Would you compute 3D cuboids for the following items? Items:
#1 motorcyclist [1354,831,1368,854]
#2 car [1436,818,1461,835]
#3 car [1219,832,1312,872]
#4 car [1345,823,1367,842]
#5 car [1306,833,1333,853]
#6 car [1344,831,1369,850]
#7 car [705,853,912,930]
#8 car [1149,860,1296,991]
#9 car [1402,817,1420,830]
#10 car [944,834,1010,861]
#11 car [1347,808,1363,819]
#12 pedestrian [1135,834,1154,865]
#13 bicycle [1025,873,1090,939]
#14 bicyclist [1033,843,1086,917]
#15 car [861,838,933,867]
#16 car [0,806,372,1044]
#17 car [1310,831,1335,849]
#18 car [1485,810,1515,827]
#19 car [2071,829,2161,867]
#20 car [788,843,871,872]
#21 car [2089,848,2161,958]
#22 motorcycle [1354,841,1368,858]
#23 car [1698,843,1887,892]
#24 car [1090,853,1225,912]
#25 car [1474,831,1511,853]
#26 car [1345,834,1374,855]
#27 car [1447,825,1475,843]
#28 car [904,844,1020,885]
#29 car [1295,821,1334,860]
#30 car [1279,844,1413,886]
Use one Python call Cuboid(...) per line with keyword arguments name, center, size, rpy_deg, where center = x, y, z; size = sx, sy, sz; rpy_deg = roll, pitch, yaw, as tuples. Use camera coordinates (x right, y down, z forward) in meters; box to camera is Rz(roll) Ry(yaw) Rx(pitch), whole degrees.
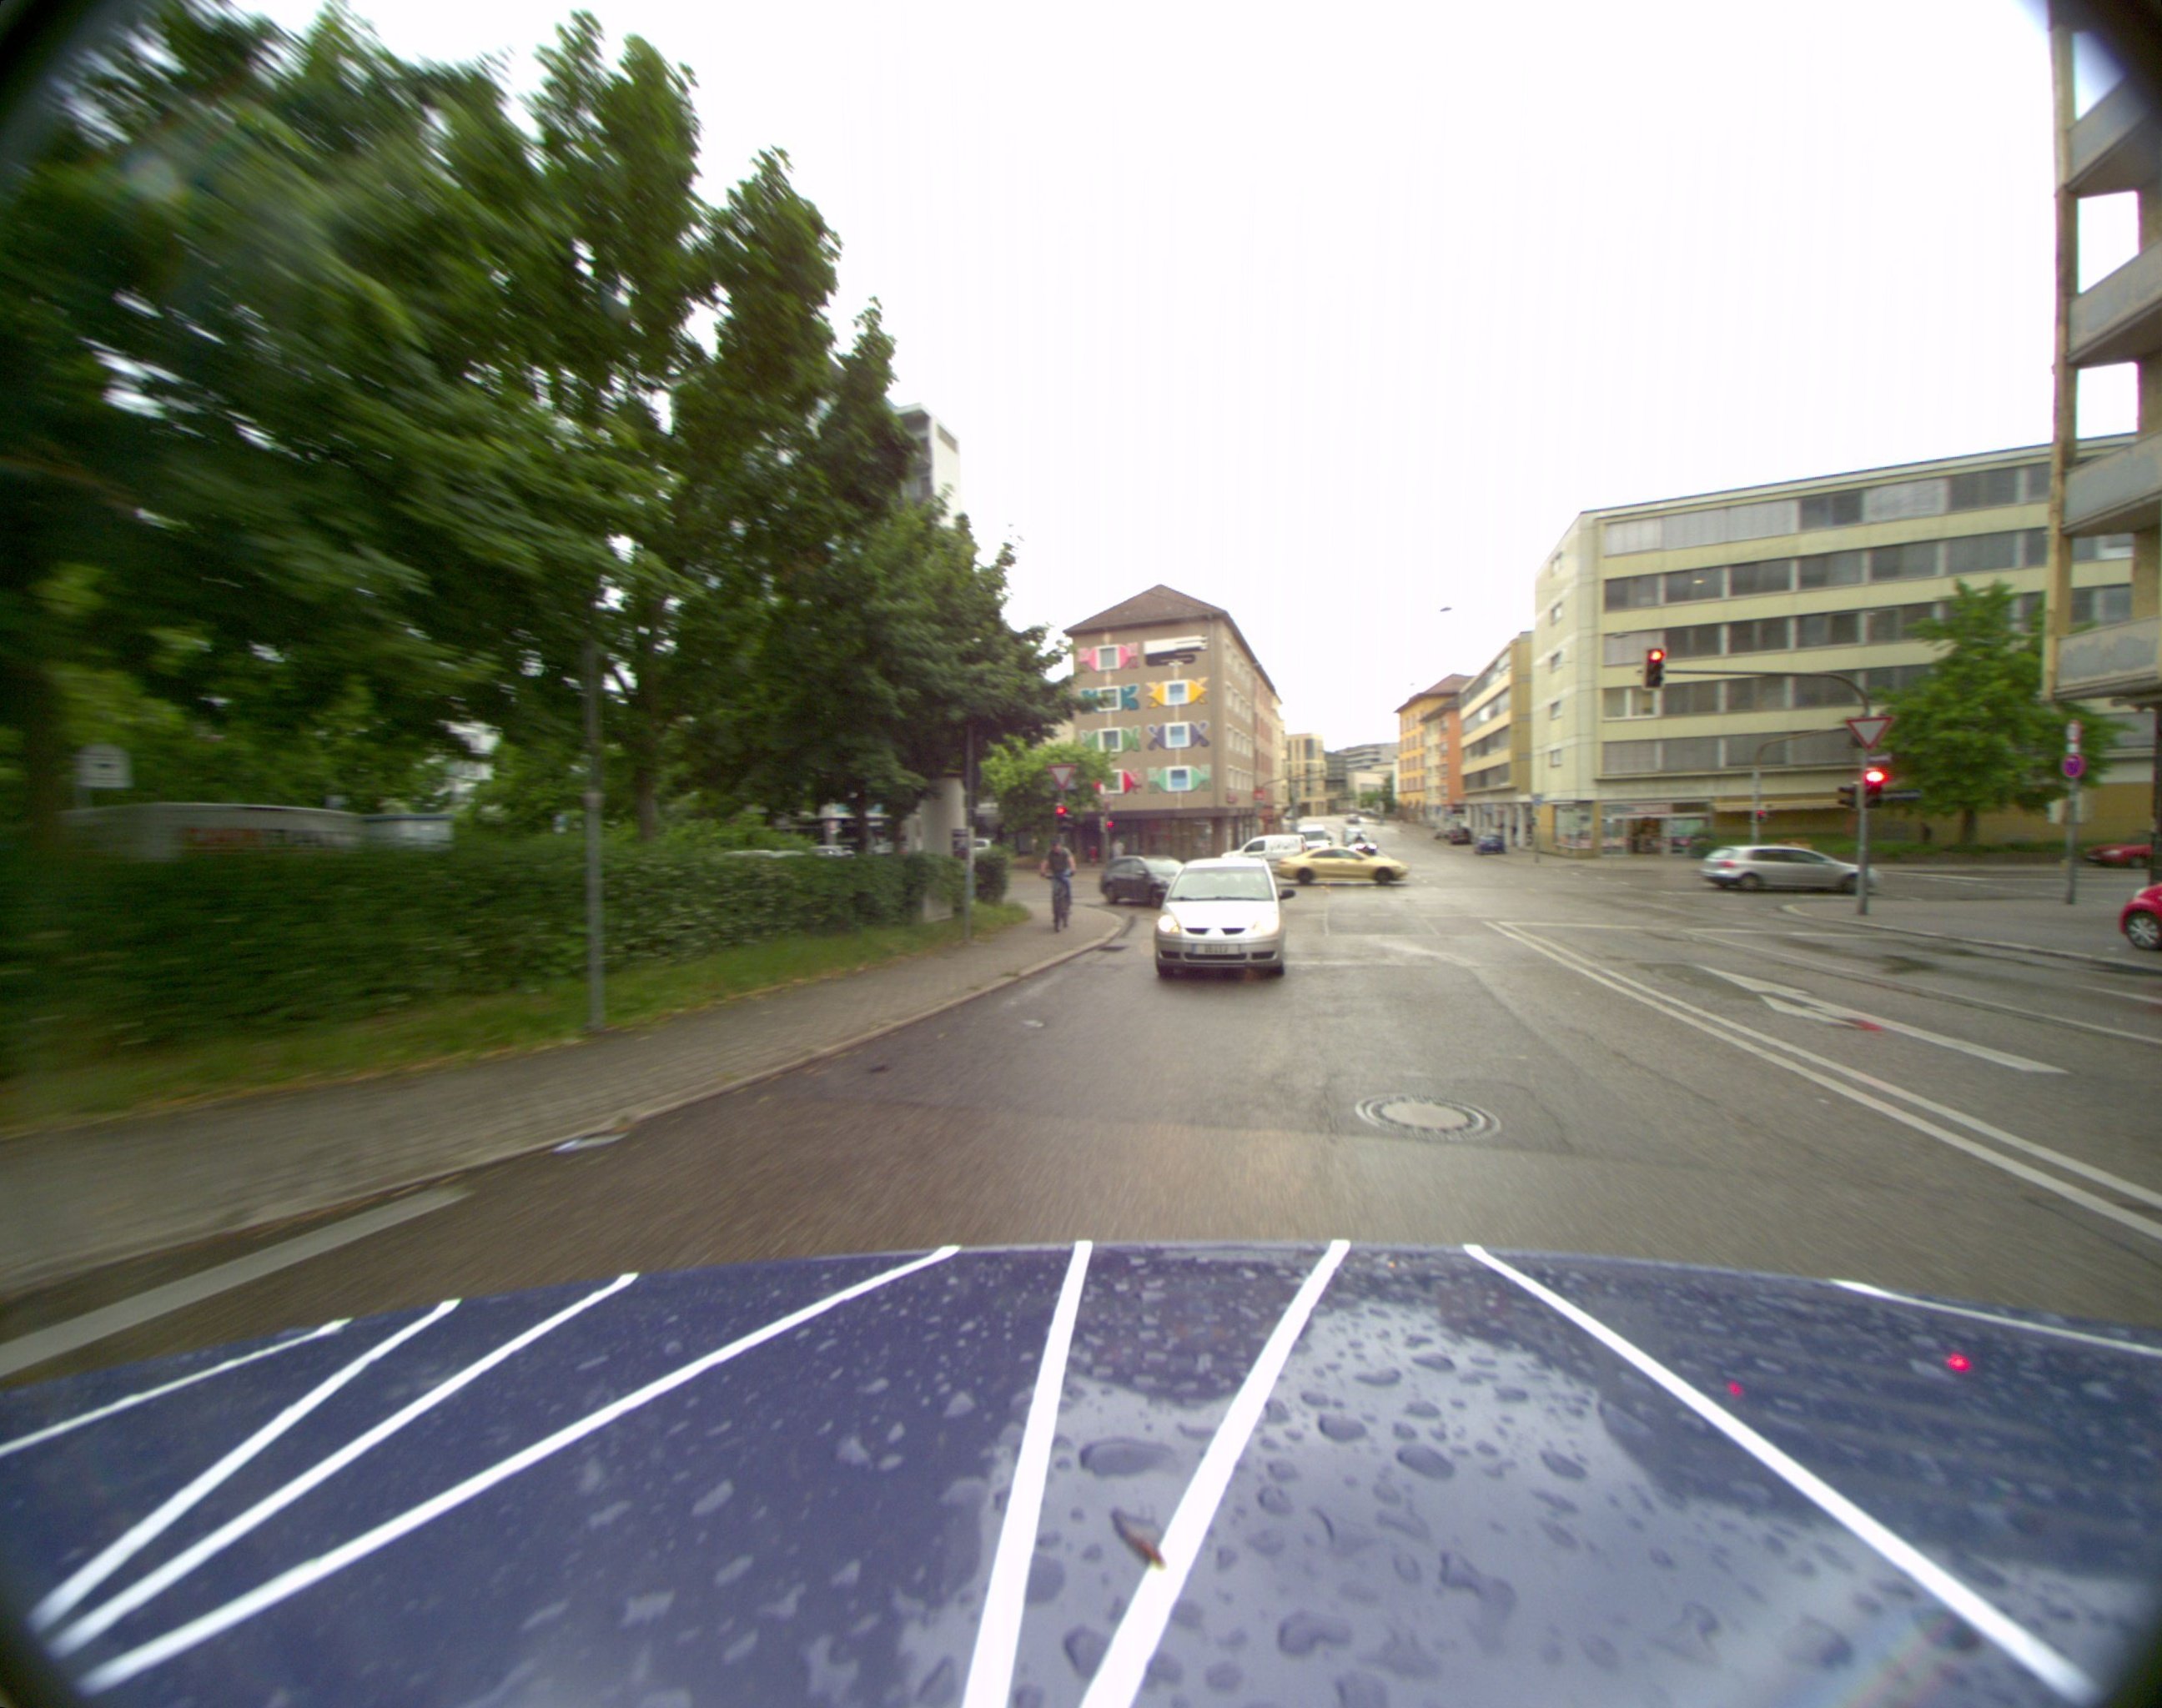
Cuboid(name="motorcyclist", center=(18.846, -0.772, 51.169), size=(0.877, 1.471, 0.797), rpy_deg=(-1, 2, 19))
Cuboid(name="car", center=(38.123, -2.827, 78.905), size=(1.846, 1.558, 4.374), rpy_deg=(-3, 1, 20))
Cuboid(name="car", center=(9.079, -0.130, 37.340), size=(4.221, 1.845, 1.994), rpy_deg=(0, 2, 21))
Cuboid(name="car", center=(26.255, -2.053, 72.478), size=(1.846, 1.705, 3.573), rpy_deg=(-3, 1, 20))
Cuboid(name="car", center=(19.239, -0.925, 61.157), size=(1.846, 1.470, 3.573), rpy_deg=(-3, 1, 20))
Cuboid(name="car", center=(22.889, -1.108, 63.047), size=(1.846, 1.411, 3.573), rpy_deg=(-3, 1, 20))
Cuboid(name="car", center=(-6.131, 0.818, 17.197), size=(4.204, 1.612, 1.639), rpy_deg=(-1, 0, 15))
Cuboid(name="car", center=(2.120, 0.894, 11.105), size=(1.685, 1.496, 3.842), rpy_deg=(-3, 0, 13))
Cuboid(name="car", center=(43.041, -3.920, 99.257), size=(1.846, 1.558, 4.374), rpy_deg=(-3, 1, 20))
Cuboid(name="car", center=(-7.084, -0.468, 51.864), size=(4.177, 1.657, 1.652), rpy_deg=(1, 5, 18))
Cuboid(name="car", center=(44.715, -6.588, 124.135), size=(1.847, 1.700, 4.369), rpy_deg=(-1, 4, 10))
Cuboid(name="pedestrian", center=(3.641, -0.271, 43.531), size=(0.902, 1.764, 0.819), rpy_deg=(0, 2, 19))
Cuboid(name="bicycle", center=(-0.453, 1.040, 15.948), size=(0.887, 1.181, 2.135), rpy_deg=(2, 1, 11))
Cuboid(name="bicyclist", center=(-0.437, 0.513, 15.946), size=(0.887, 1.481, 0.969), rpy_deg=(2, 1, 11))
Cuboid(name="car", center=(-11.681, -0.136, 48.339), size=(4.177, 1.657, 1.652), rpy_deg=(1, 5, 18))
Cuboid(name="car", center=(-9.454, 0.619, 7.851), size=(4.201, 1.948, 1.640), rpy_deg=(-1, 0, 25))
Cuboid(name="car", center=(21.467, -1.262, 67.477), size=(1.846, 1.411, 3.573), rpy_deg=(-3, 1, 20))
Cuboid(name="car", center=(42.467, -3.591, 77.066), size=(1.846, 1.558, 4.374), rpy_deg=(-3, 1, 20))
Cuboid(name="car", center=(42.871, -0.246, 30.204), size=(3.881, 1.419, 1.727), rpy_deg=(0, 4, 24))
Cuboid(name="car", center=(-15.245, 0.177, 46.128), size=(4.559, 1.693, 1.994), rpy_deg=(0, 2, 23))
Cuboid(name="car", center=(15.318, 0.671, 9.433), size=(1.611, 1.455, 3.538), rpy_deg=(-3, 0, 18))
Cuboid(name="motorcycle", center=(18.818, -0.313, 51.079), size=(0.877, 1.093, 1.802), rpy_deg=(-1, 2, 19))
Cuboid(name="car", center=(22.528, 0.390, 24.246), size=(4.027, 1.417, 1.689), rpy_deg=(0, 3, 19))
Cuboid(name="car", center=(2.177, 0.798, 22.987), size=(1.690, 1.496, 4.491), rpy_deg=(-4, 2, -30))
Cuboid(name="car", center=(30.241, -0.899, 55.891), size=(1.846, 1.411, 3.573), rpy_deg=(-3, 1, 20))
Cuboid(name="car", center=(20.536, -0.734, 56.095), size=(1.846, 1.411, 3.573), rpy_deg=(-3, 1, 20))
Cuboid(name="car", center=(36.190, -1.910, 72.427), size=(1.846, 1.558, 4.374), rpy_deg=(-3, 1, 20))
Cuboid(name="car", center=(-5.215, 0.451, 33.565), size=(4.572, 1.572, 1.992), rpy_deg=(0, 6, 17))
Cuboid(name="car", center=(16.702, -0.980, 54.118), size=(2.228, 2.509, 5.477), rpy_deg=(-3, 1, 20))
Cuboid(name="car", center=(9.846, 0.368, 28.456), size=(4.571, 1.433, 1.993), rpy_deg=(0, 2, 19))
